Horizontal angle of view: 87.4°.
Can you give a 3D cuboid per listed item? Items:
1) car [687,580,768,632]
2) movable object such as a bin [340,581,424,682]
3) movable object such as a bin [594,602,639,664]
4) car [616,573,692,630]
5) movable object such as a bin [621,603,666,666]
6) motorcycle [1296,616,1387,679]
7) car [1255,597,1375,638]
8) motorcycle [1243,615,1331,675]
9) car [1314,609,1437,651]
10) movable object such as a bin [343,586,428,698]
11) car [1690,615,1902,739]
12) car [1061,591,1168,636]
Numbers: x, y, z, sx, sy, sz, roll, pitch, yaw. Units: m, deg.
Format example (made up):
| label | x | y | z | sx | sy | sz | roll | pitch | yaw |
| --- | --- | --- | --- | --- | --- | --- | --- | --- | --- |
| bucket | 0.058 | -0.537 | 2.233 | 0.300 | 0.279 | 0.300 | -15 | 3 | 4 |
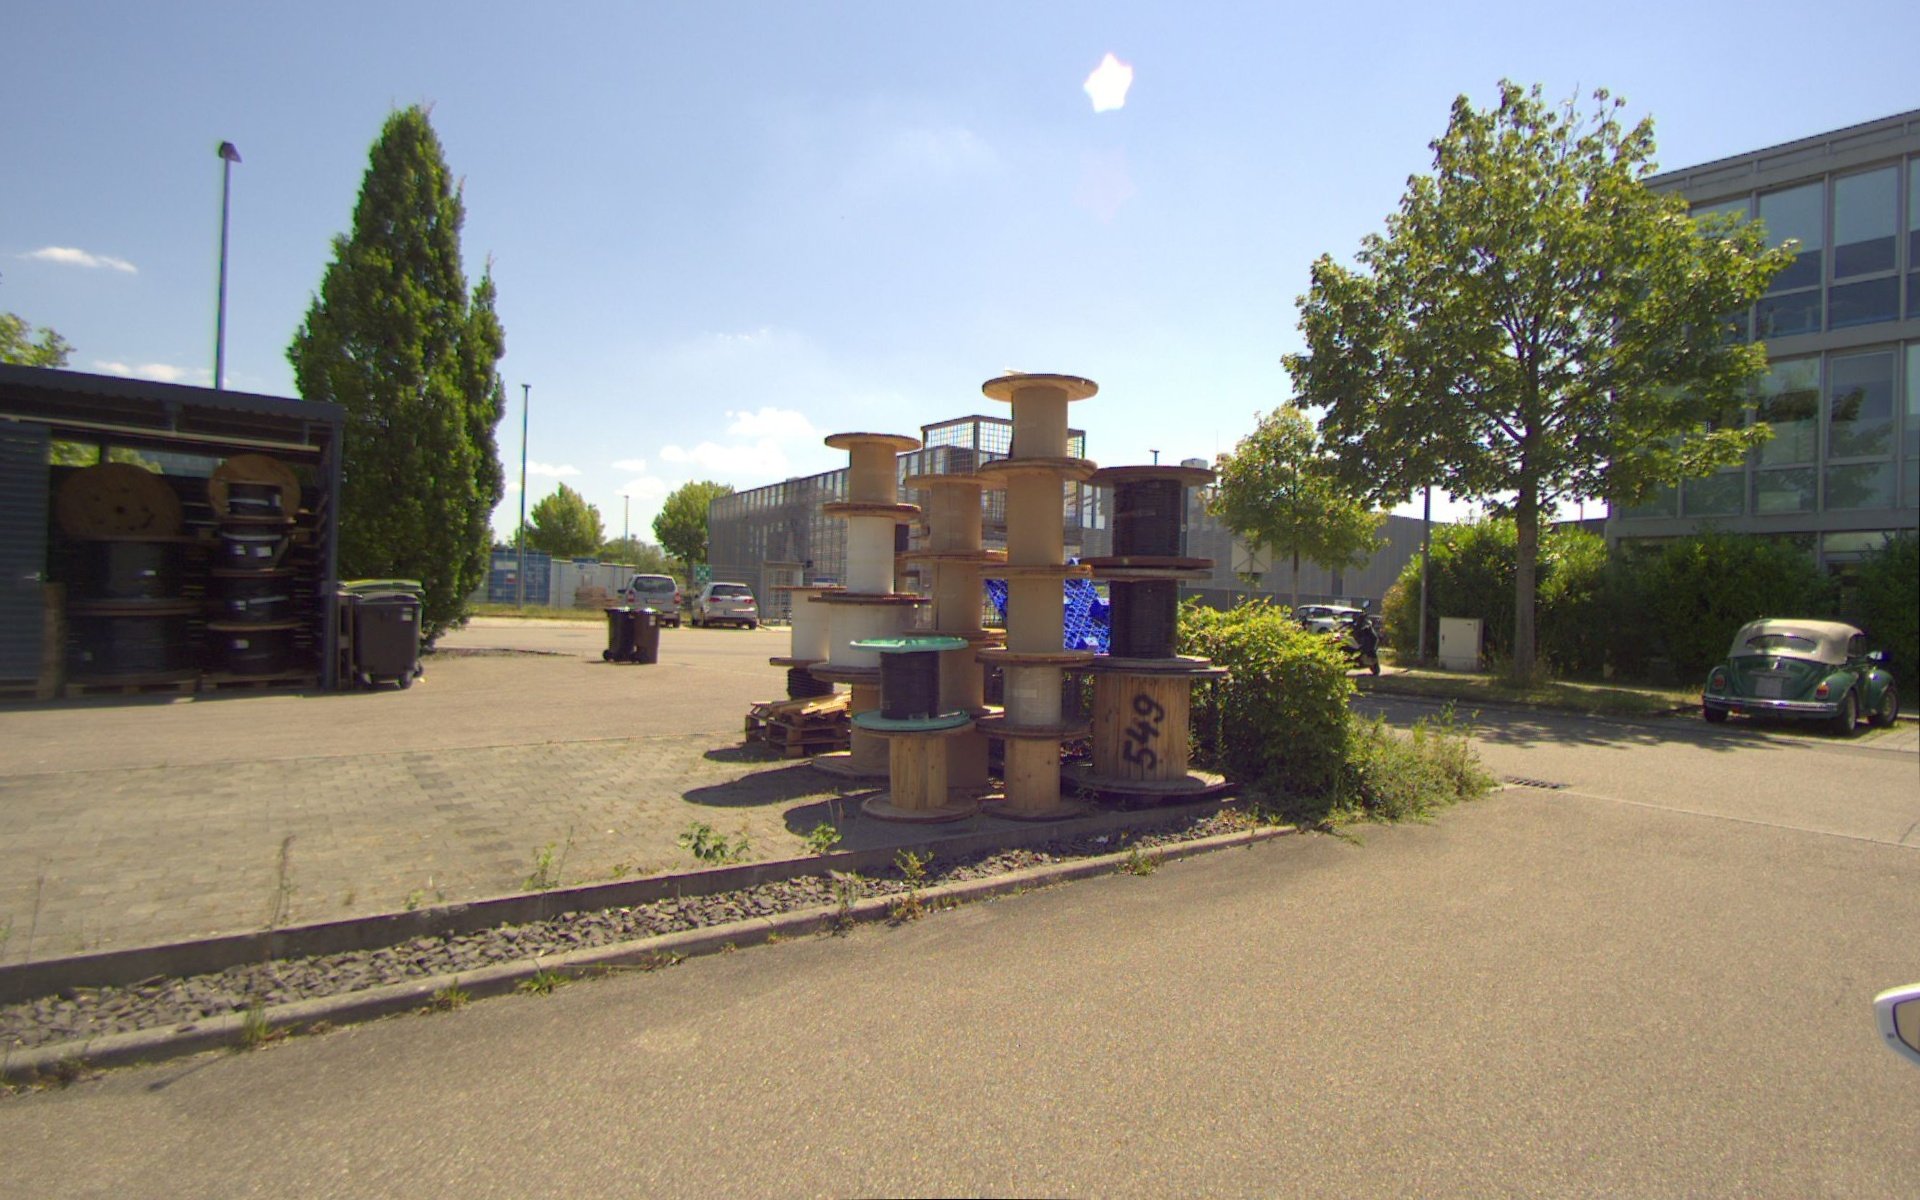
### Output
| label | x | y | z | sx | sy | sz | roll | pitch | yaw |
| --- | --- | --- | --- | --- | --- | --- | --- | --- | --- |
| car | -7.672 | 0.150 | 32.916 | 1.971 | 1.511 | 3.979 | 3 | 0 | -21 |
| movable object such as a bin | -8.009 | 0.426 | 13.947 | 0.962 | 1.347 | 0.704 | 2 | 0 | -30 |
| movable object such as a bin | -5.987 | 0.569 | 17.508 | 0.570 | 1.041 | 0.425 | 2 | 0 | 21 |
| car | -9.889 | 0.017 | 32.253 | 1.971 | 1.611 | 3.979 | 3 | 0 | -21 |
| movable object such as a bin | -5.445 | 0.590 | 17.287 | 0.567 | 1.050 | 0.425 | 2 | 0 | 21 |
| motorcycle | 7.381 | 0.894 | 19.391 | 1.939 | 1.153 | 0.708 | 1 | 0 | -37 |
| car | 14.487 | 0.671 | 41.345 | 1.971 | 1.511 | 4.830 | 1 | 1 | -21 |
| motorcycle | 6.655 | 0.895 | 20.426 | 1.939 | 1.153 | 0.708 | 1 | 0 | -37 |
| car | 17.288 | 1.206 | 42.106 | 1.971 | 1.511 | 4.830 | 1 | 1 | -21 |
| movable object such as a bin | -7.287 | 0.517 | 12.764 | 0.874 | 1.362 | 0.807 | 2 | 0 | -30 |
| car | 11.828 | 0.982 | 14.156 | 3.621 | 1.468 | 1.530 | 1 | 1 | -38 |
| car | 5.653 | 0.462 | 37.411 | 1.971 | 1.511 | 4.491 | 1 | 1 | -21 |
